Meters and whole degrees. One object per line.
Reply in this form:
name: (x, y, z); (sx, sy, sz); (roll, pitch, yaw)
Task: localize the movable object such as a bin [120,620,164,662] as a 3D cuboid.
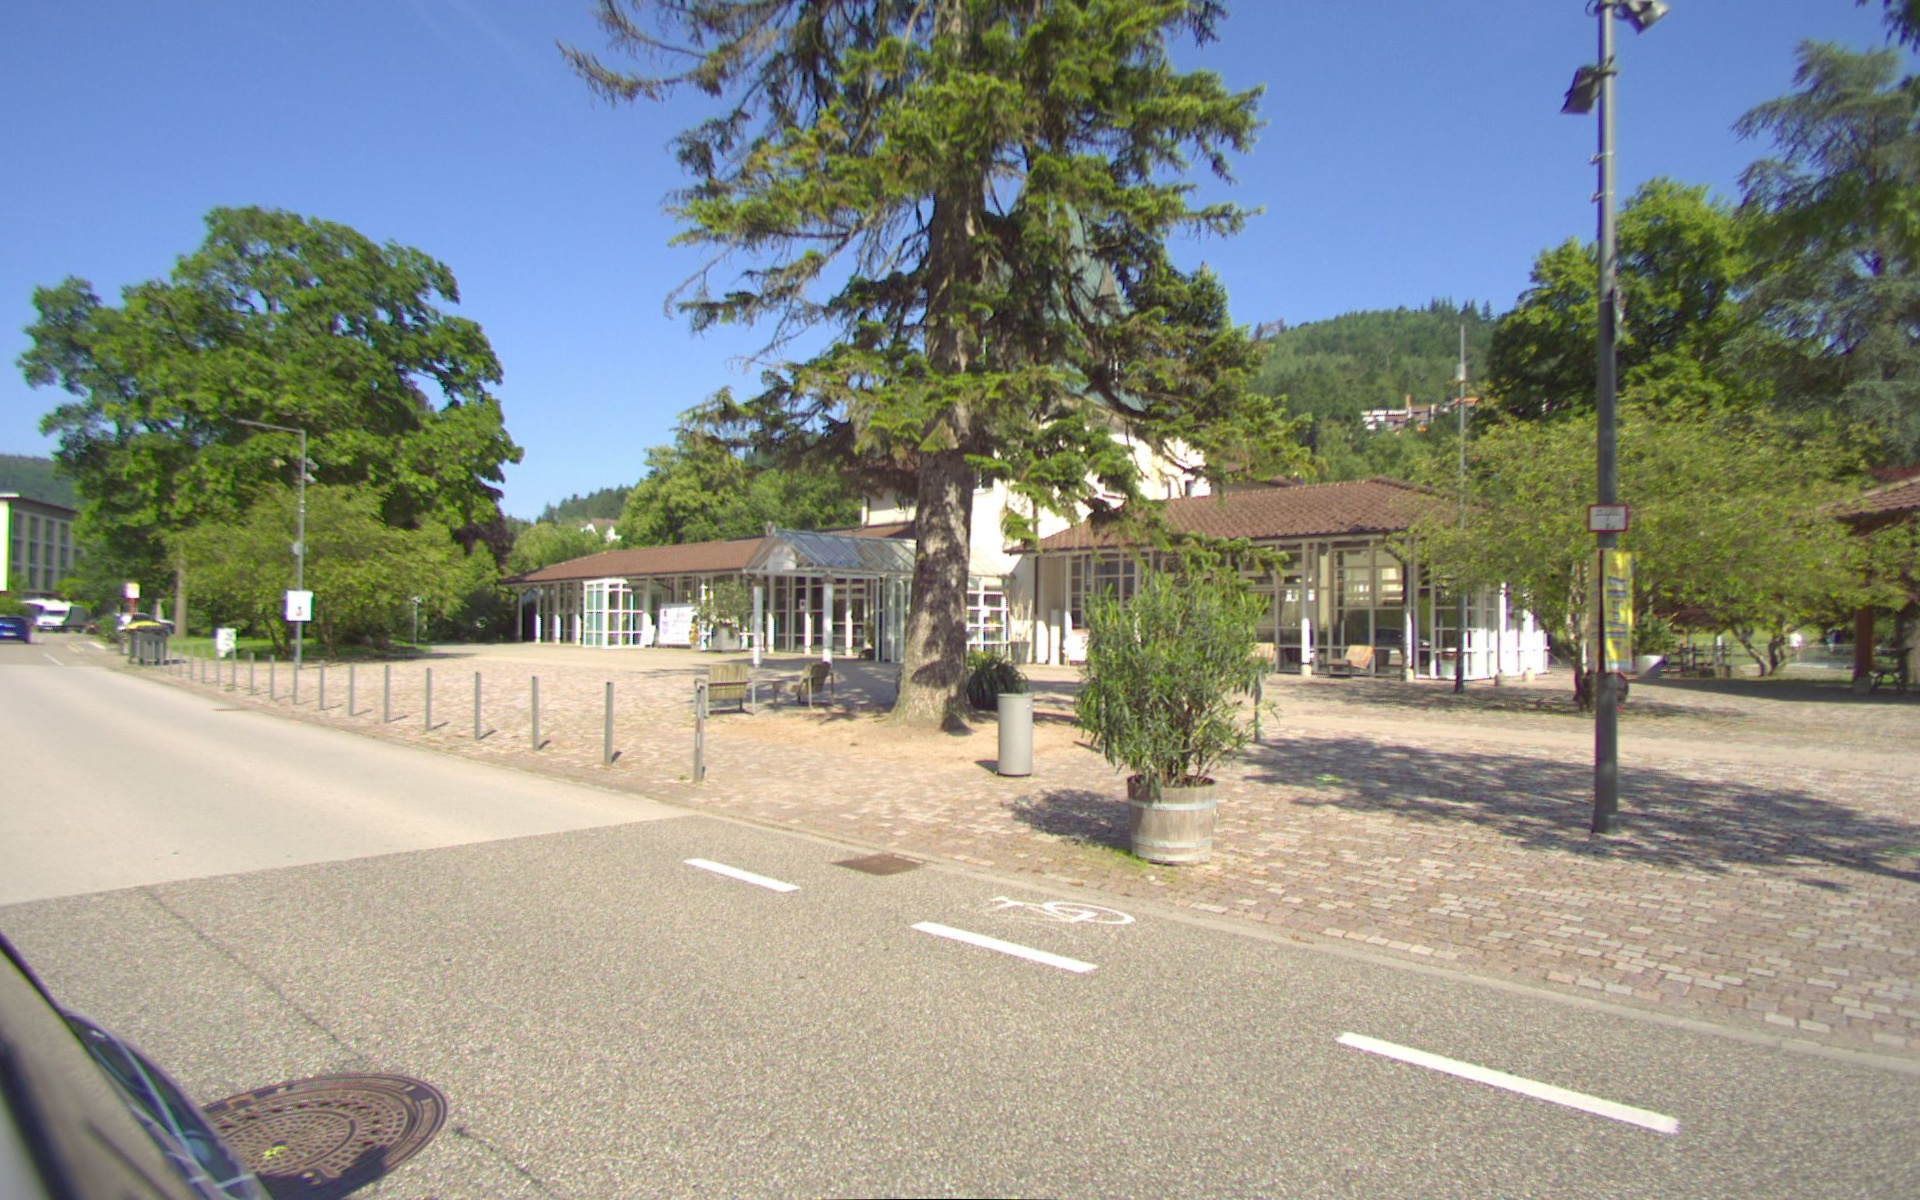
movable object such as a bin: (-28.838, 1.431, 35.684); (1.377, 1.438, 1.066); (-2, -1, 45)

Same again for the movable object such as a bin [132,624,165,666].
movable object such as a bin: (-27.500, 1.510, 34.302); (0.746, 1.352, 1.295); (0, -1, -45)

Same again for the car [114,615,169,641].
car: (-51.431, 1.753, 63.625); (2.616, 1.558, 1.686); (0, -1, -36)

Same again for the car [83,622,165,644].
car: (-58.277, 2.280, 70.564); (1.712, 1.443, 4.230); (-1, -1, 42)

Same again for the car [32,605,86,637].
car: (-82.427, 1.908, 92.685); (1.759, 2.812, 5.932); (0, -1, -21)

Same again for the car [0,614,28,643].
car: (-51.297, 1.498, 54.184); (4.188, 1.474, 1.722); (0, -4, 44)
